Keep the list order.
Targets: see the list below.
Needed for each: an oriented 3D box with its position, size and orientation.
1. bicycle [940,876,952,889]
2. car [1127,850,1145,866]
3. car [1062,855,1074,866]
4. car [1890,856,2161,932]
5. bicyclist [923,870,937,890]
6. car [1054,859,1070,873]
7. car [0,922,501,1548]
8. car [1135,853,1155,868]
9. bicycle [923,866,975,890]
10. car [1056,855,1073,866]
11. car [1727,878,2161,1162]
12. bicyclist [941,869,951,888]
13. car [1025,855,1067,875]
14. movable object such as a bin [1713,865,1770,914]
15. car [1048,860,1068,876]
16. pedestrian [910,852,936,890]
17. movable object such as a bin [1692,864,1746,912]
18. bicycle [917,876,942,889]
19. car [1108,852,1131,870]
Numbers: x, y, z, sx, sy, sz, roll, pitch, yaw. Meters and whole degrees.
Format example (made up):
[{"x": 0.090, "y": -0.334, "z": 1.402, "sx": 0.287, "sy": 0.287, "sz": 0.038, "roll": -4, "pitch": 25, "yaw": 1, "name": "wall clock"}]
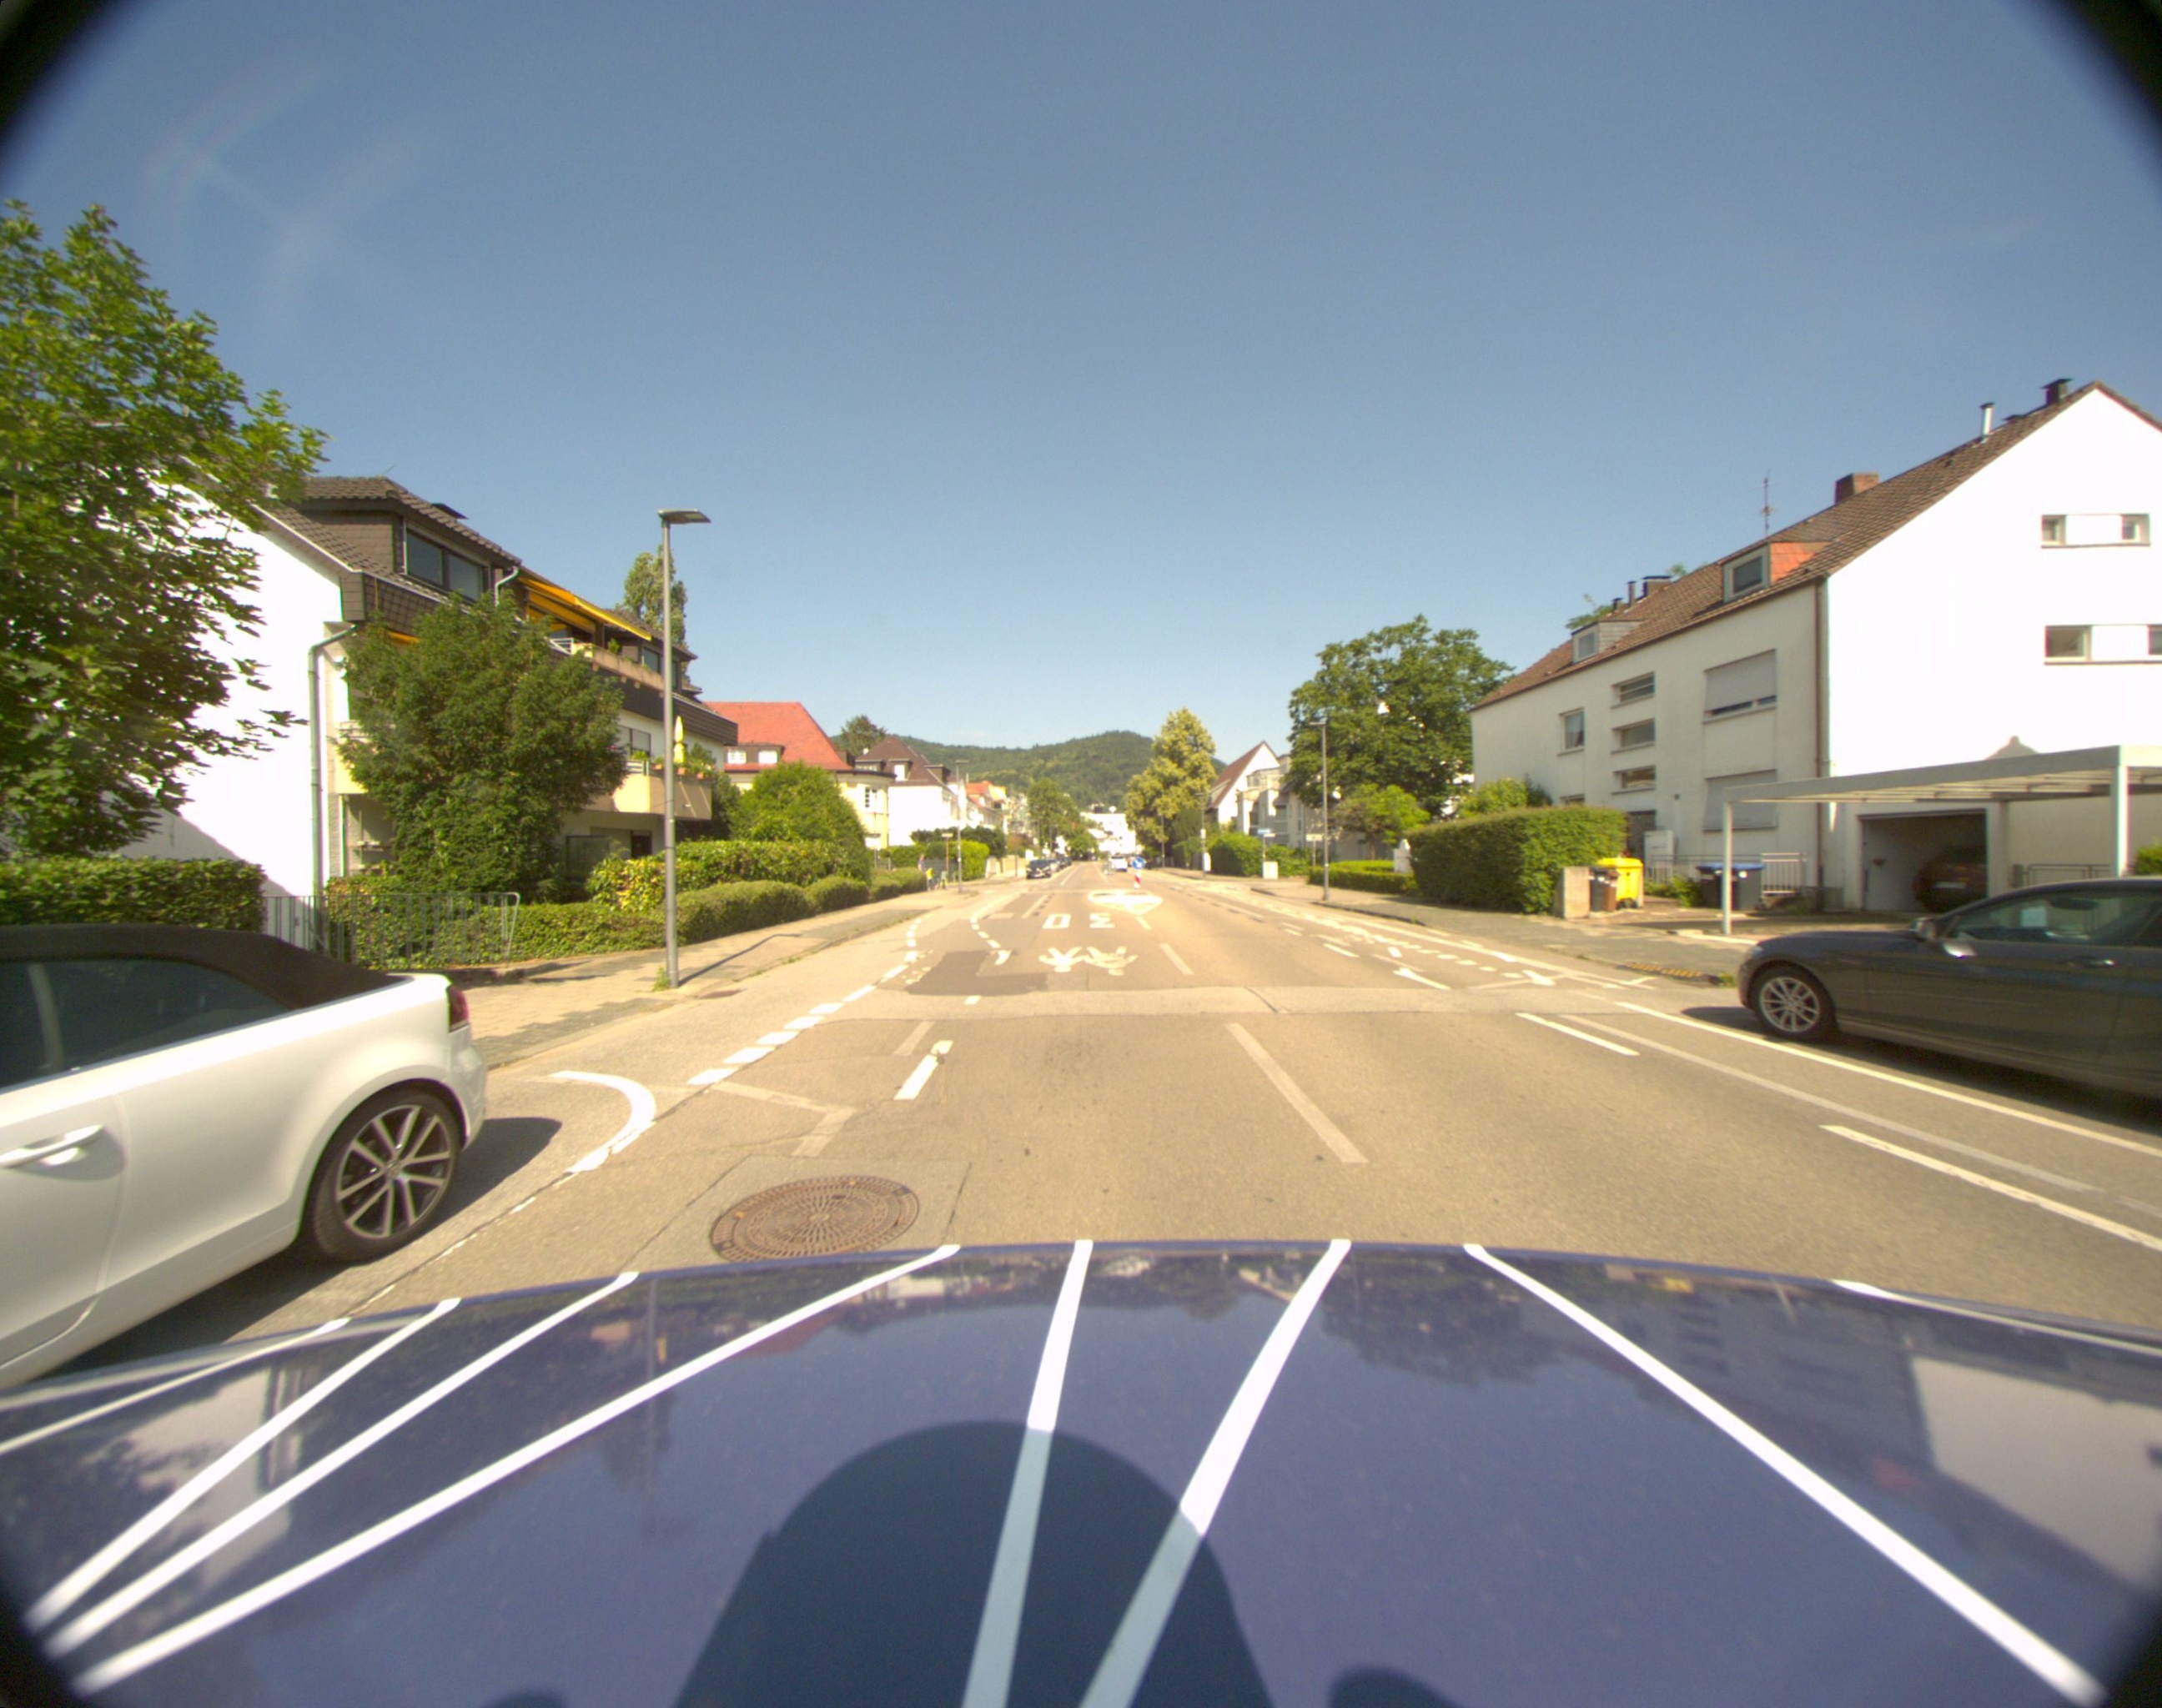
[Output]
[{"x": -6.663, "y": 1.417, "z": 37.473, "sx": 0.403, "sy": 0.596, "sz": 1.171, "roll": 0, "pitch": 0, "yaw": -21, "name": "bicycle"}, {"x": 7.152, "y": 0.512, "z": 99.433, "sx": 1.890, "sy": 1.908, "sz": 4.868, "roll": 0, "pitch": 0, "yaw": 0, "name": "car"}, {"x": -2.035, "y": 1.042, "z": 117.386, "sx": 1.701, "sy": 1.573, "sz": 4.900, "roll": -3, "pitch": 0, "yaw": -2, "name": "car"}, {"x": 19.481, "y": 0.763, "z": 15.554, "sx": 3.998, "sy": 1.407, "sz": 1.900, "roll": 0, "pitch": 0, "yaw": -4, "name": "car"}, {"x": -7.195, "y": 1.221, "z": 36.238, "sx": 0.608, "sy": 0.928, "sz": 0.400, "roll": 0, "pitch": 1, "yaw": -2, "name": "bicyclist"}, {"x": -2.136, "y": 1.356, "z": 85.950, "sx": 1.726, "sy": 1.441, "sz": 4.168, "roll": -3, "pitch": 0, "yaw": -1, "name": "car"}, {"x": -3.559, "y": 1.055, "z": 1.428, "sx": 1.745, "sy": 1.394, "sz": 4.073, "roll": -3, "pitch": 0, "yaw": 0, "name": "car"}, {"x": 7.190, "y": 0.685, "z": 85.987, "sx": 1.856, "sy": 1.601, "sz": 4.447, "roll": 0, "pitch": 0, "yaw": -1, "name": "car"}, {"x": -6.706, "y": 1.204, "z": 38.570, "sx": 2.704, "sy": 1.151, "sz": 0.865, "roll": 0, "pitch": 1, "yaw": 33, "name": "bicycle"}, {"x": -2.247, "y": 0.809, "z": 103.915, "sx": 1.622, "sy": 1.440, "sz": 4.002, "roll": -1, "pitch": 0, "yaw": 7, "name": "car"}, {"x": 6.612, "y": 0.932, "z": 4.595, "sx": 1.790, "sy": 1.431, "sz": 4.154, "roll": 1, "pitch": 0, "yaw": -1, "name": "car"}, {"x": -6.651, "y": 1.201, "z": 37.419, "sx": 0.403, "sy": 0.924, "sz": 0.657, "roll": -1, "pitch": 1, "yaw": -19, "name": "bicyclist"}, {"x": -2.543, "y": 0.800, "z": 56.189, "sx": 1.738, "sy": 1.459, "sz": 4.351, "roll": 1, "pitch": 0, "yaw": 17, "name": "car"}, {"x": 15.261, "y": 0.803, "z": 17.564, "sx": 0.702, "sy": 1.085, "sz": 0.707, "roll": 0, "pitch": 1, "yaw": -3, "name": "movable object such as a bin"}, {"x": -2.303, "y": 1.377, "z": 75.871, "sx": 1.741, "sy": 1.321, "sz": 4.075, "roll": -3, "pitch": 1, "yaw": 1, "name": "car"}, {"x": -8.026, "y": 0.842, "z": 38.596, "sx": 0.903, "sy": 1.862, "sz": 1.186, "roll": -1, "pitch": 1, "yaw": -33, "name": "pedestrian"}, {"x": 15.233, "y": 0.800, "z": 18.160, "sx": 0.702, "sy": 1.085, "sz": 0.707, "roll": 0, "pitch": 1, "yaw": -3, "name": "movable object such as a bin"}, {"x": -7.220, "y": 1.369, "z": 36.228, "sx": 1.150, "sy": 0.596, "sz": 0.402, "roll": 0, "pitch": 0, "yaw": -2, "name": "bicycle"}, {"x": 3.633, "y": 0.648, "z": 72.342, "sx": 1.920, "sy": 1.657, "sz": 4.505, "roll": 1, "pitch": 0, "yaw": 0, "name": "car"}]
